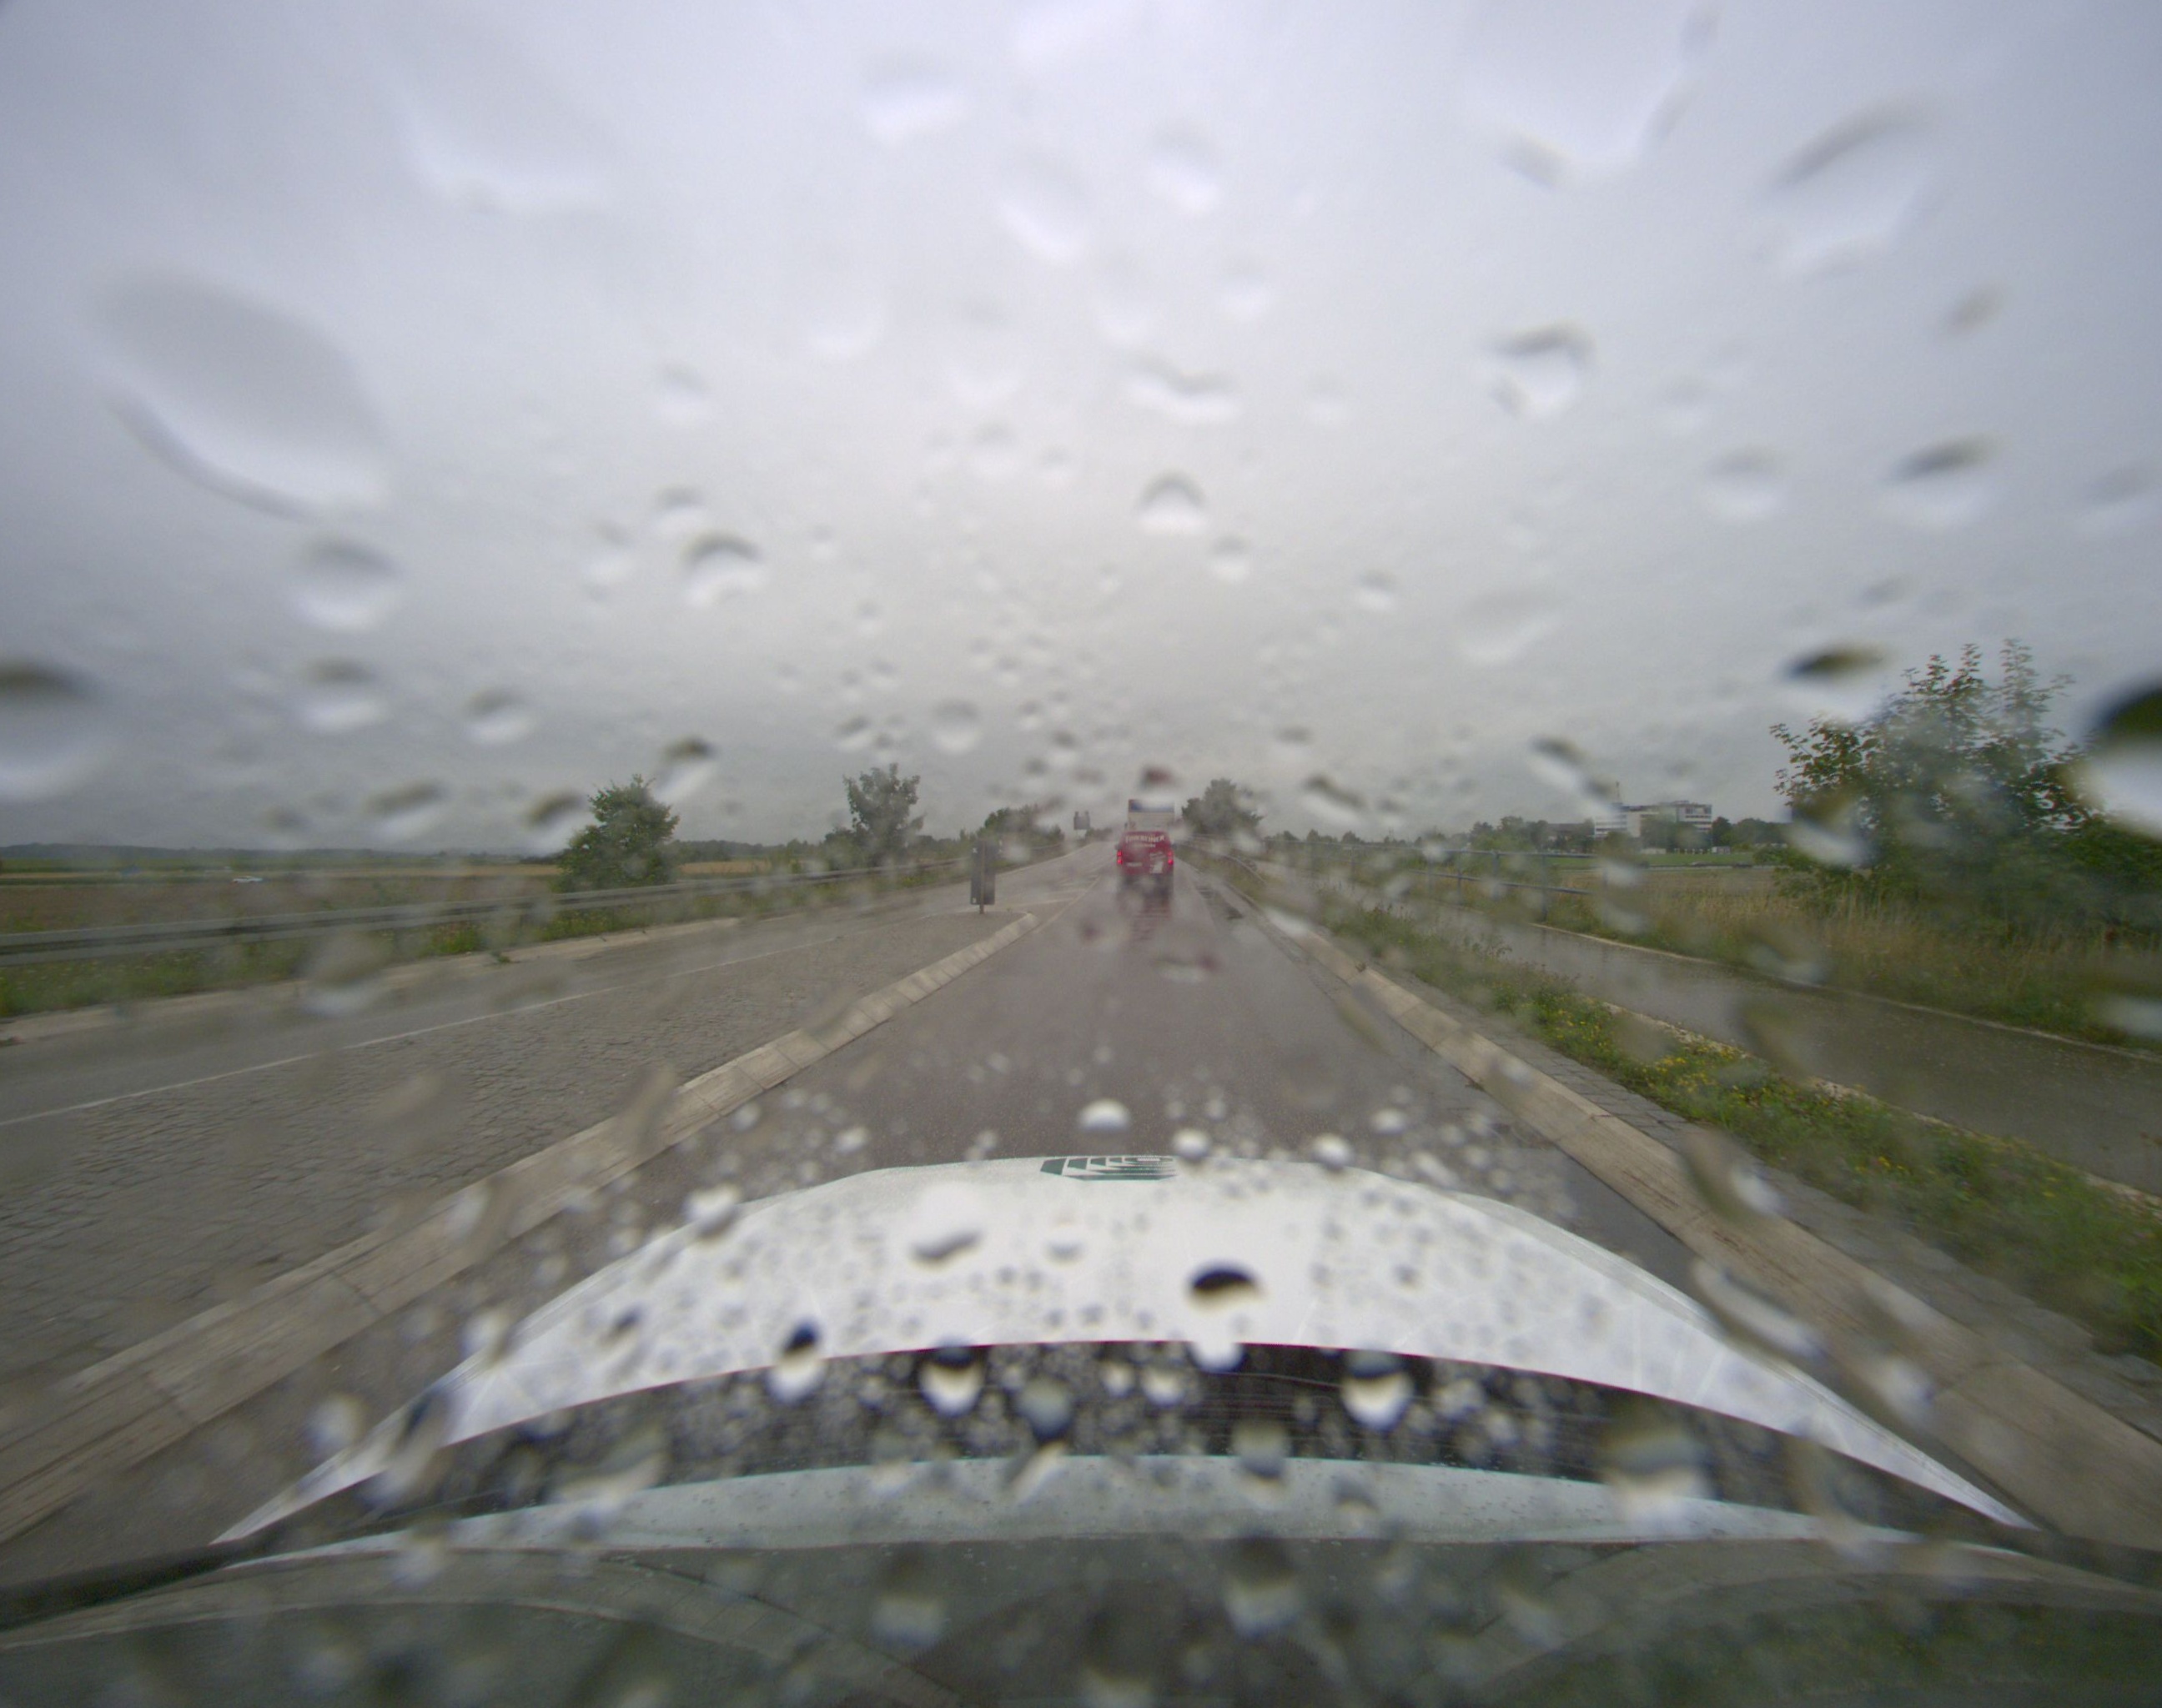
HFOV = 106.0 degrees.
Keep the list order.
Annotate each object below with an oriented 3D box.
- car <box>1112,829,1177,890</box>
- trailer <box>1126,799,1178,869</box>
[{"bbox_3d":[2.278,0.122,27.933,1.983,1.870,4.988,-1,1,6],"label":"car"},{"bbox_3d":[4.280,-1.186,49.519,2.819,3.818,9.728,-1,1,5],"label":"trailer"}]
